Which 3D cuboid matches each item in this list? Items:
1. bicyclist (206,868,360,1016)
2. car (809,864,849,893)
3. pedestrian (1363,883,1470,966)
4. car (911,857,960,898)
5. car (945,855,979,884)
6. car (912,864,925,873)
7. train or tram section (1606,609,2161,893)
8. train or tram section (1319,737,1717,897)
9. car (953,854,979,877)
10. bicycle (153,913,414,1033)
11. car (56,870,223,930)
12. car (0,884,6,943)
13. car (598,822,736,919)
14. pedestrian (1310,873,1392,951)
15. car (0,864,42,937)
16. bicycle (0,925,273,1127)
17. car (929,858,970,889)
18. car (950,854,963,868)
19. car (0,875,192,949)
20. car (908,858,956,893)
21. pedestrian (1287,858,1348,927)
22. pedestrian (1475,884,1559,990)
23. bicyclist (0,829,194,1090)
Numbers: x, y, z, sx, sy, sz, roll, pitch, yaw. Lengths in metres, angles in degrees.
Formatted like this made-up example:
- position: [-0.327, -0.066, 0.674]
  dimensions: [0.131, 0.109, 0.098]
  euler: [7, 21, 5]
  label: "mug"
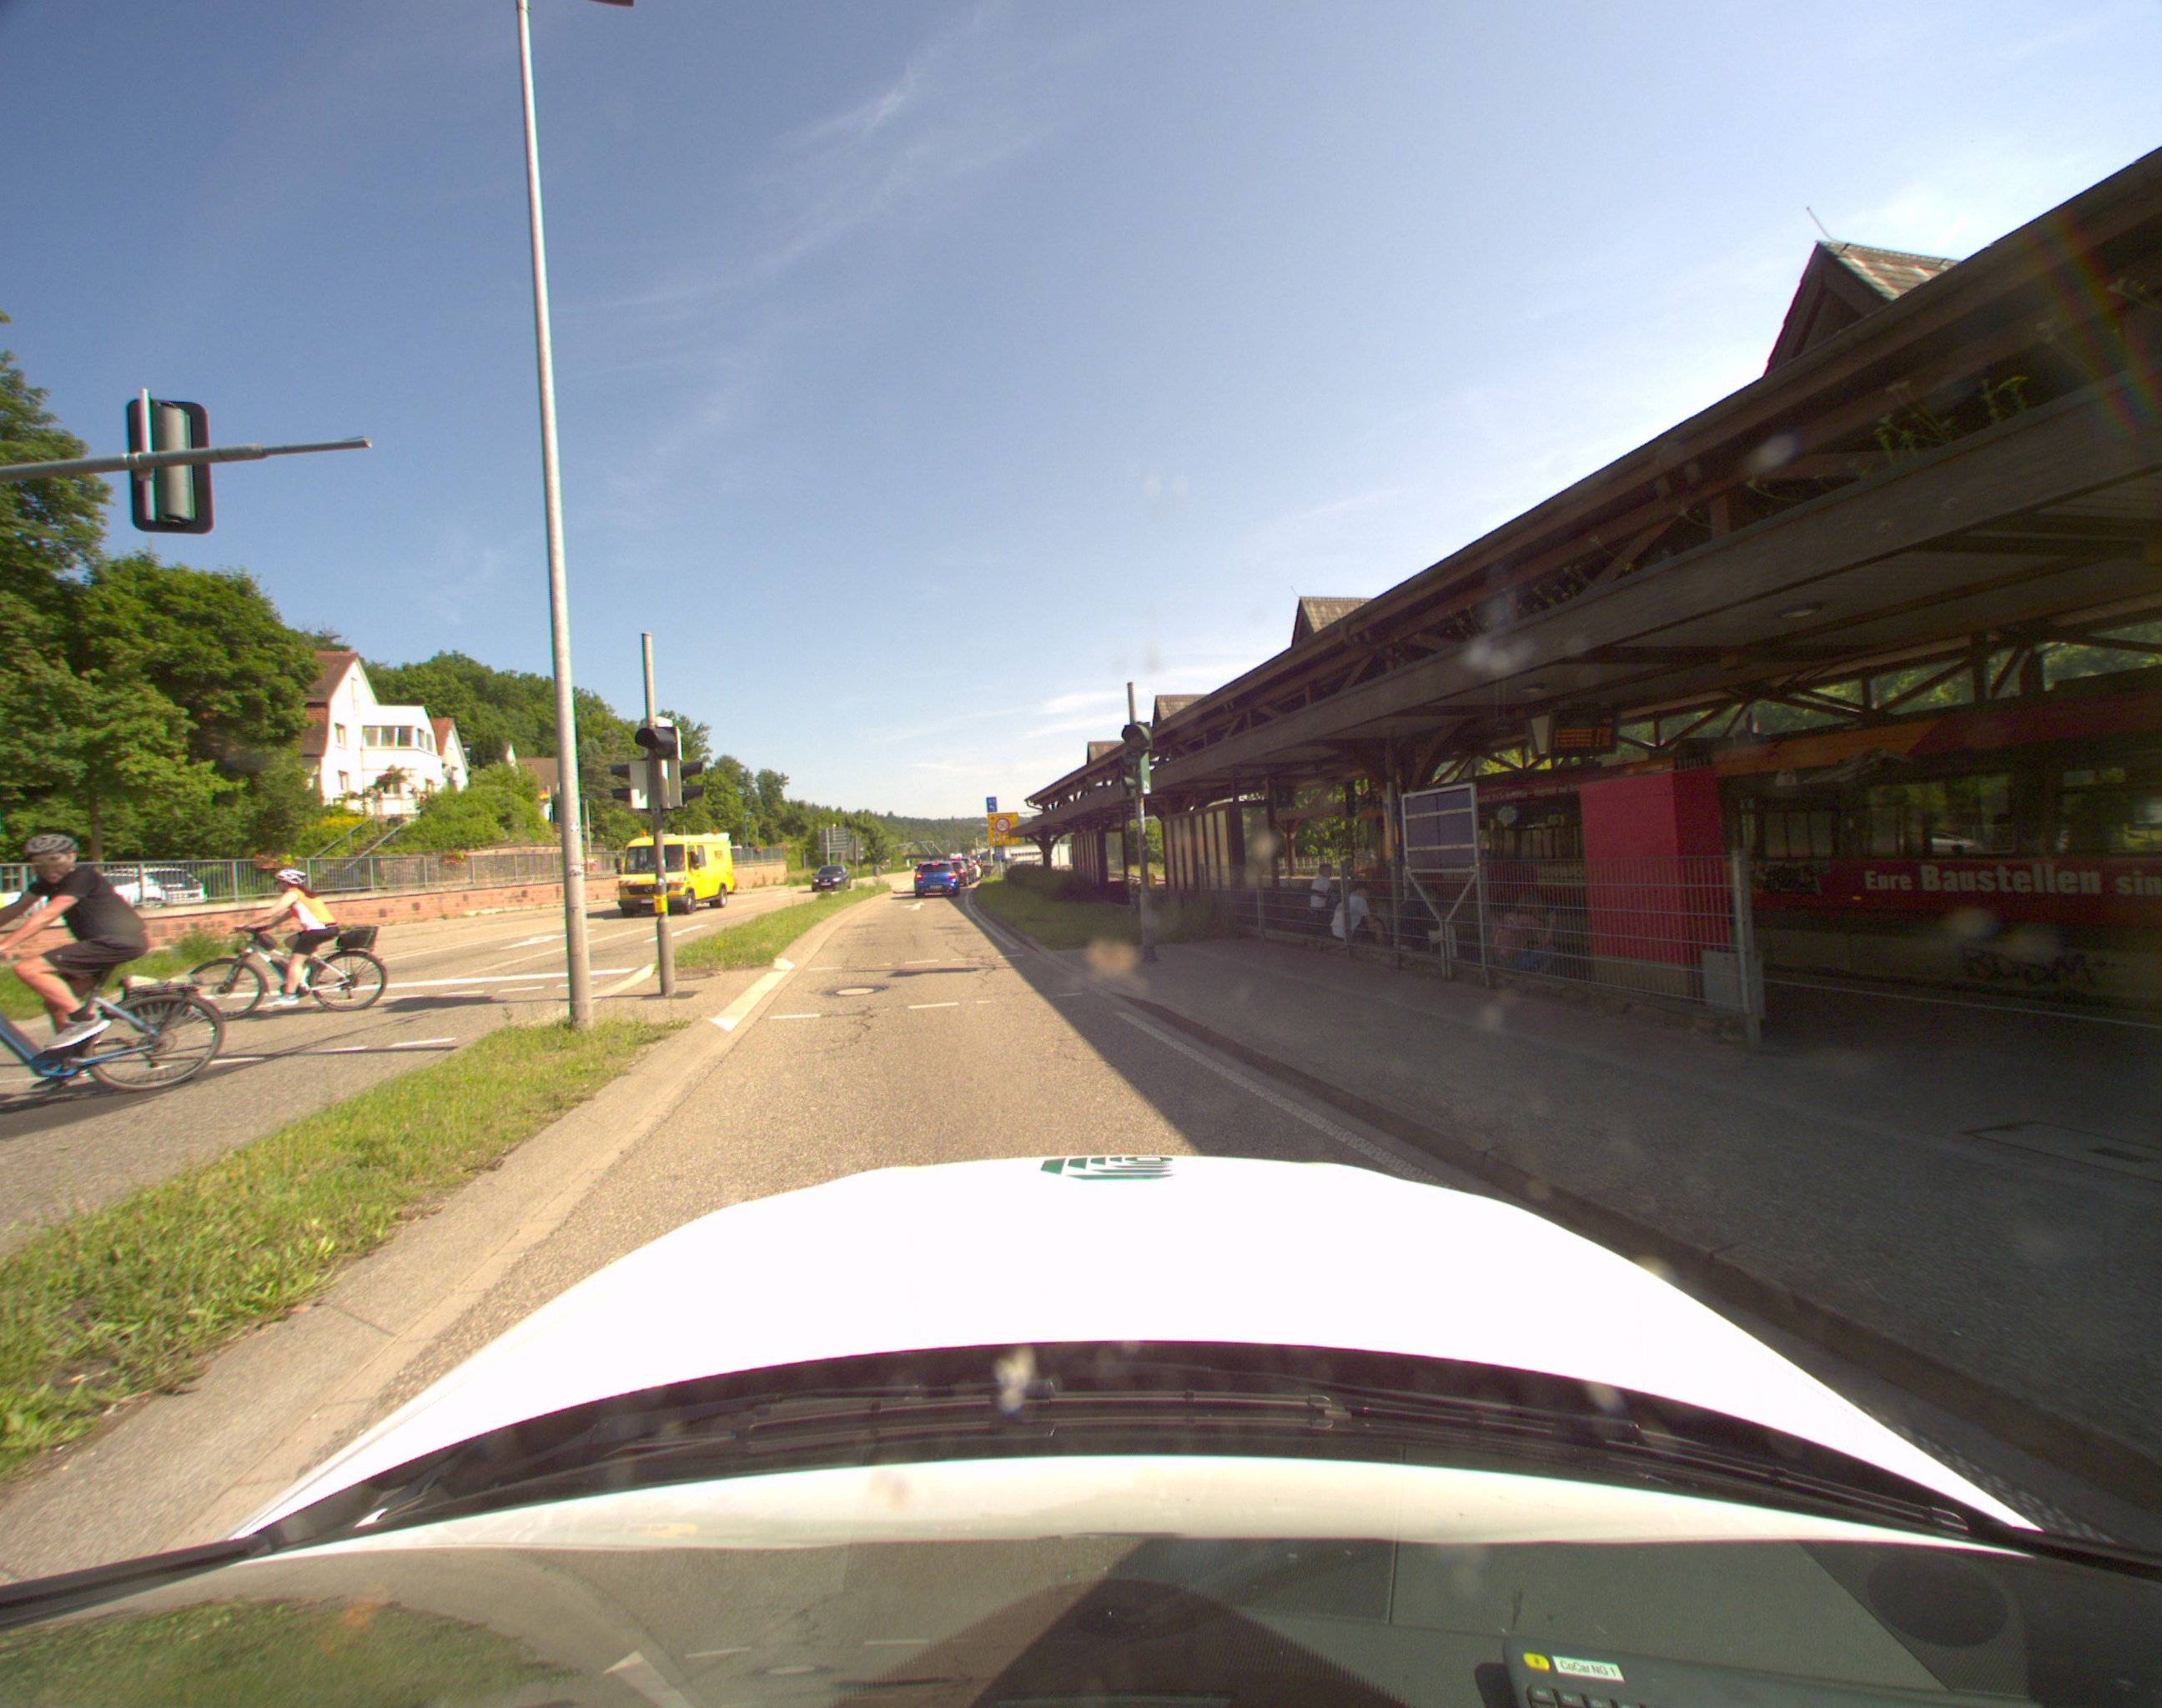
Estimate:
- position: [-9.262, 0.979, 9.506]
  dimensions: [0.957, 1.564, 0.801]
  euler: [-3, 1, -21]
  label: "bicyclist"
- position: [-14.185, 1.341, 46.049]
  dimensions: [1.747, 1.462, 4.027]
  euler: [-3, 0, -12]
  label: "car"
- position: [3.939, 0.806, 9.599]
  dimensions: [0.846, 0.874, 0.803]
  euler: [-1, 1, -16]
  label: "pedestrian"
- position: [-6.123, 0.959, 34.488]
  dimensions: [1.868, 1.548, 3.987]
  euler: [-2, 0, -9]
  label: "car"
- position: [-7.484, 0.940, 51.456]
  dimensions: [1.992, 1.686, 4.486]
  euler: [-1, 0, -7]
  label: "car"
- position: [-29.627, 2.557, 148.207]
  dimensions: [1.789, 1.470, 4.706]
  euler: [-2, 0, -6]
  label: "car"
- position: [13.819, -1.218, 11.659]
  dimensions: [2.789, 3.364, 11.993]
  euler: [-1, -1, -13]
  label: "train or tram section"
- position: [11.167, -0.791, 23.309]
  dimensions: [2.759, 3.364, 11.992]
  euler: [-1, 0, -13]
  label: "train or tram section"
- position: [-9.183, 0.928, 65.262]
  dimensions: [1.992, 1.736, 3.990]
  euler: [-1, 0, -7]
  label: "car"
- position: [-9.180, 1.334, 9.497]
  dimensions: [1.976, 1.064, 0.729]
  euler: [-4, 2, -24]
  label: "bicycle"
- position: [-31.519, 1.514, 27.322]
  dimensions: [3.961, 1.875, 1.920]
  euler: [-1, 1, 11]
  label: "car"
- position: [-32.529, 1.712, 22.710]
  dimensions: [3.953, 1.671, 2.010]
  euler: [-1, 1, 21]
  label: "car"
- position: [-14.514, 0.551, 29.126]
  dimensions: [2.467, 3.011, 6.445]
  euler: [-1, -1, -9]
  label: "car"
- position: [3.645, 0.764, 11.041]
  dimensions: [0.744, 0.982, 0.765]
  euler: [-1, 1, -16]
  label: "pedestrian"
- position: [-22.669, 0.922, 15.761]
  dimensions: [3.954, 1.381, 1.923]
  euler: [-1, 1, 19]
  label: "car"
- position: [-7.206, 1.190, 5.734]
  dimensions: [0.725, 1.162, 2.012]
  euler: [-1, 1, 29]
  label: "bicycle"
- position: [-7.273, 1.043, 45.346]
  dimensions: [1.992, 1.531, 4.590]
  euler: [-3, 0, -7]
  label: "car"
- position: [-19.863, 1.101, 130.201]
  dimensions: [1.993, 2.144, 4.705]
  euler: [-1, -1, -9]
  label: "car"
- position: [-28.771, 1.611, 23.304]
  dimensions: [1.900, 1.789, 4.020]
  euler: [-3, 0, 19]
  label: "car"
- position: [-7.261, 1.030, 40.036]
  dimensions: [1.992, 1.571, 3.990]
  euler: [-2, -1, -7]
  label: "car"
- position: [4.009, 0.631, 13.847]
  dimensions: [0.744, 1.116, 0.664]
  euler: [-1, 0, -16]
  label: "pedestrian"
- position: [4.279, 0.796, 7.994]
  dimensions: [0.618, 0.966, 0.404]
  euler: [-1, 0, -17]
  label: "pedestrian"
- position: [-7.196, 0.682, 5.805]
  dimensions: [0.796, 1.691, 0.999]
  euler: [-1, 0, 30]
  label: "bicyclist"
